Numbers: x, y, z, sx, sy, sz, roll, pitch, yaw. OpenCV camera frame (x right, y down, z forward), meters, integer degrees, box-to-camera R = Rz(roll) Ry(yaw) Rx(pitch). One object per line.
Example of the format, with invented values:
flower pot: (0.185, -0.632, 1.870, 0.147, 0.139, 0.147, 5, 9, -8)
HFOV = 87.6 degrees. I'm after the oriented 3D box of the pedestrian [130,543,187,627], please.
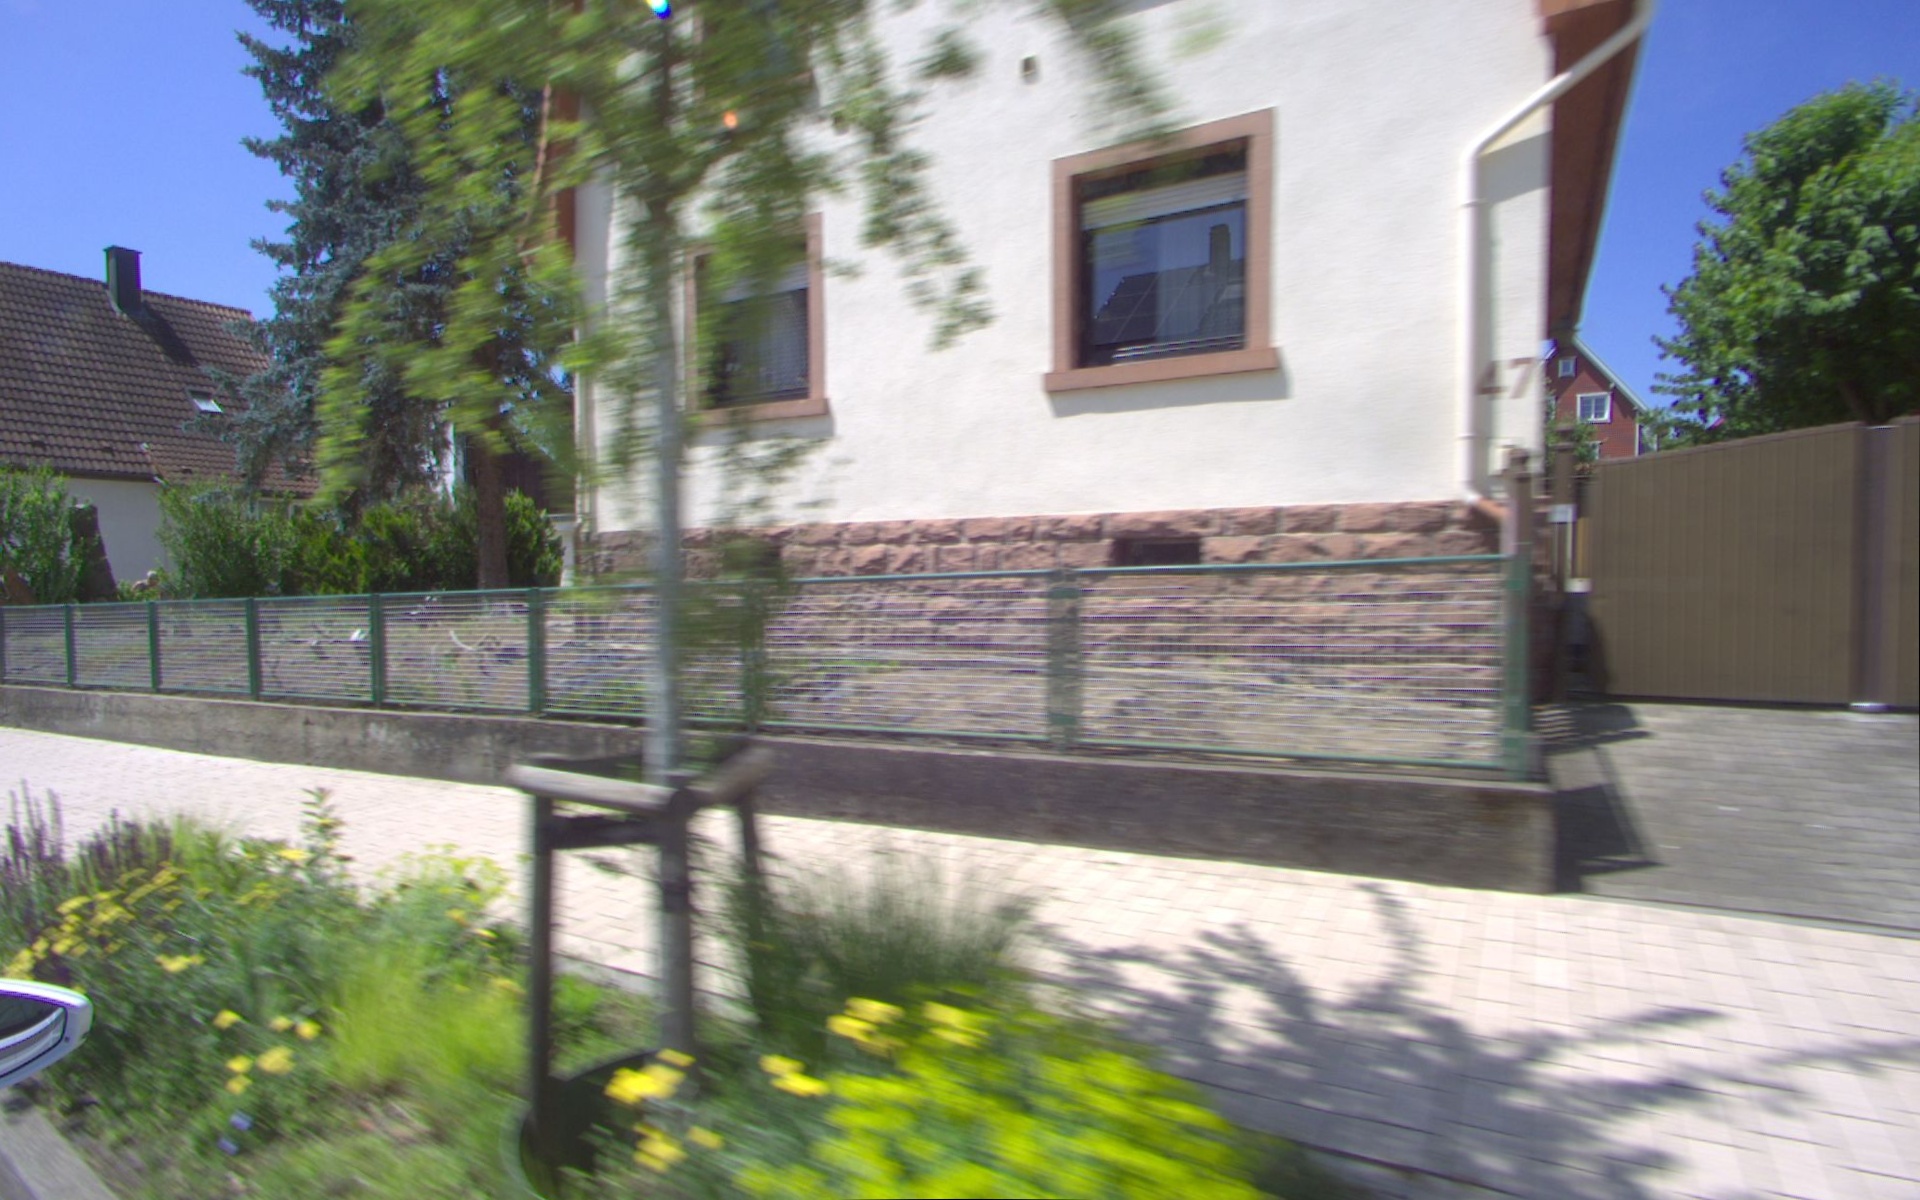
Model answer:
pedestrian: (-16.105, -0.304, 20.135, 0.544, 1.639, 0.602, 0, 5, 31)
